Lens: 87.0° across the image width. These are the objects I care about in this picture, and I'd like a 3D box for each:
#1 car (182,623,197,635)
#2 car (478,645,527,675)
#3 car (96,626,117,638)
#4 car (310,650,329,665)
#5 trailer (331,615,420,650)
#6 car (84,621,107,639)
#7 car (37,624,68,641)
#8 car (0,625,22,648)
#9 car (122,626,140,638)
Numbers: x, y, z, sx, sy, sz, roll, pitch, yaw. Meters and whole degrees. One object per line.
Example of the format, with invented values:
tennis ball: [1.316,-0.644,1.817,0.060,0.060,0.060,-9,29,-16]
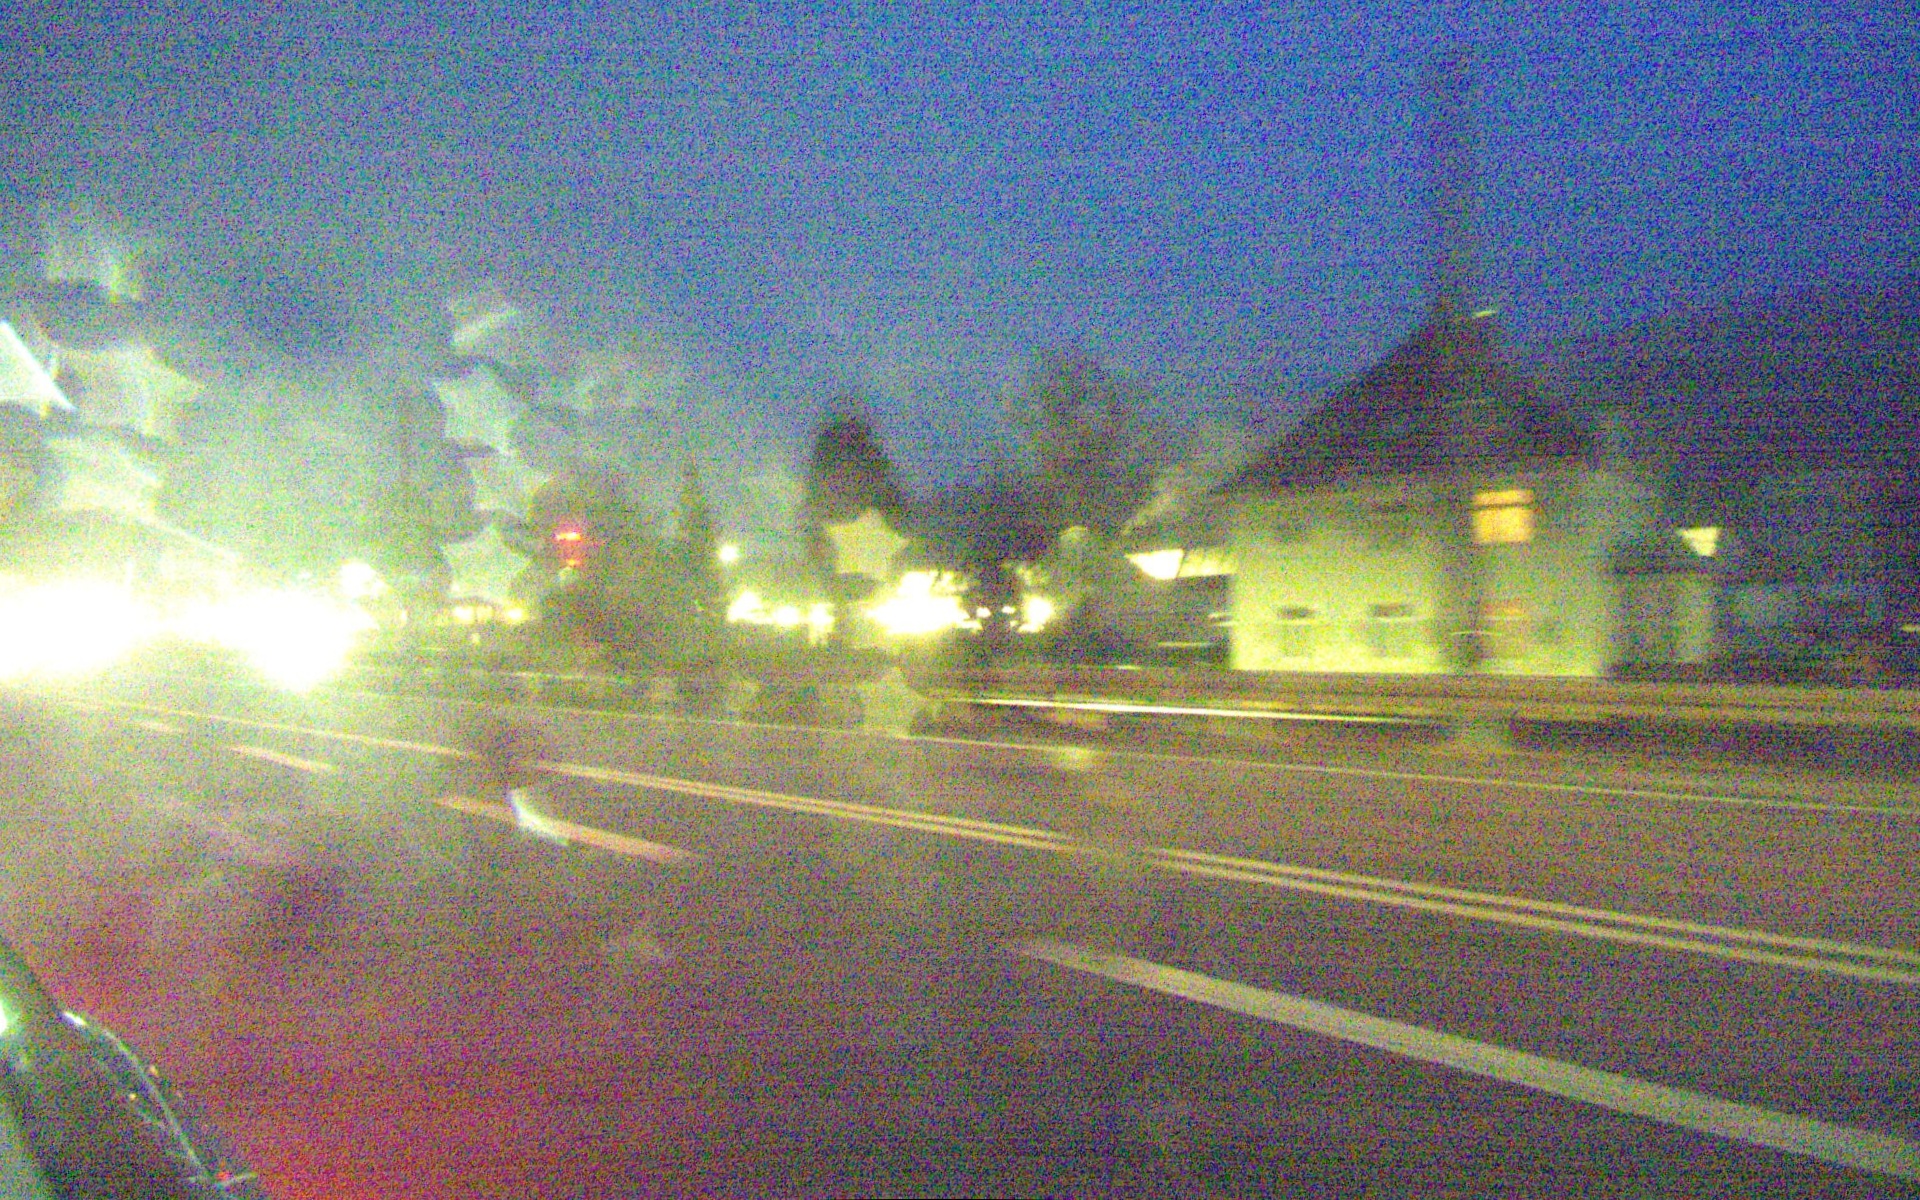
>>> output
car: [-146.011,5.475,191.775,1.763,1.635,4.391,1,4,-30]
car: [-34.544,4.514,76.351,3.999,2.029,1.972,-1,0,42]
car: [-114.157,4.261,135.328,1.775,1.531,4.546,1,-1,-36]
car: [-80.328,7.179,126.911,1.784,1.582,4.304,-1,0,-34]
trailer: [-87.795,4.749,152.326,3.329,4.832,11.425,-1,0,33]
car: [-105.253,3.625,123.207,1.968,2.090,4.008,-1,0,-38]
car: [-89.354,3.181,99.664,1.968,1.625,4.621,0,-1,-38]
car: [-89.293,3.389,94.896,1.970,2.029,4.004,-1,0,-43]
car: [-122.829,4.799,149.911,1.665,1.693,3.477,0,-1,-33]
